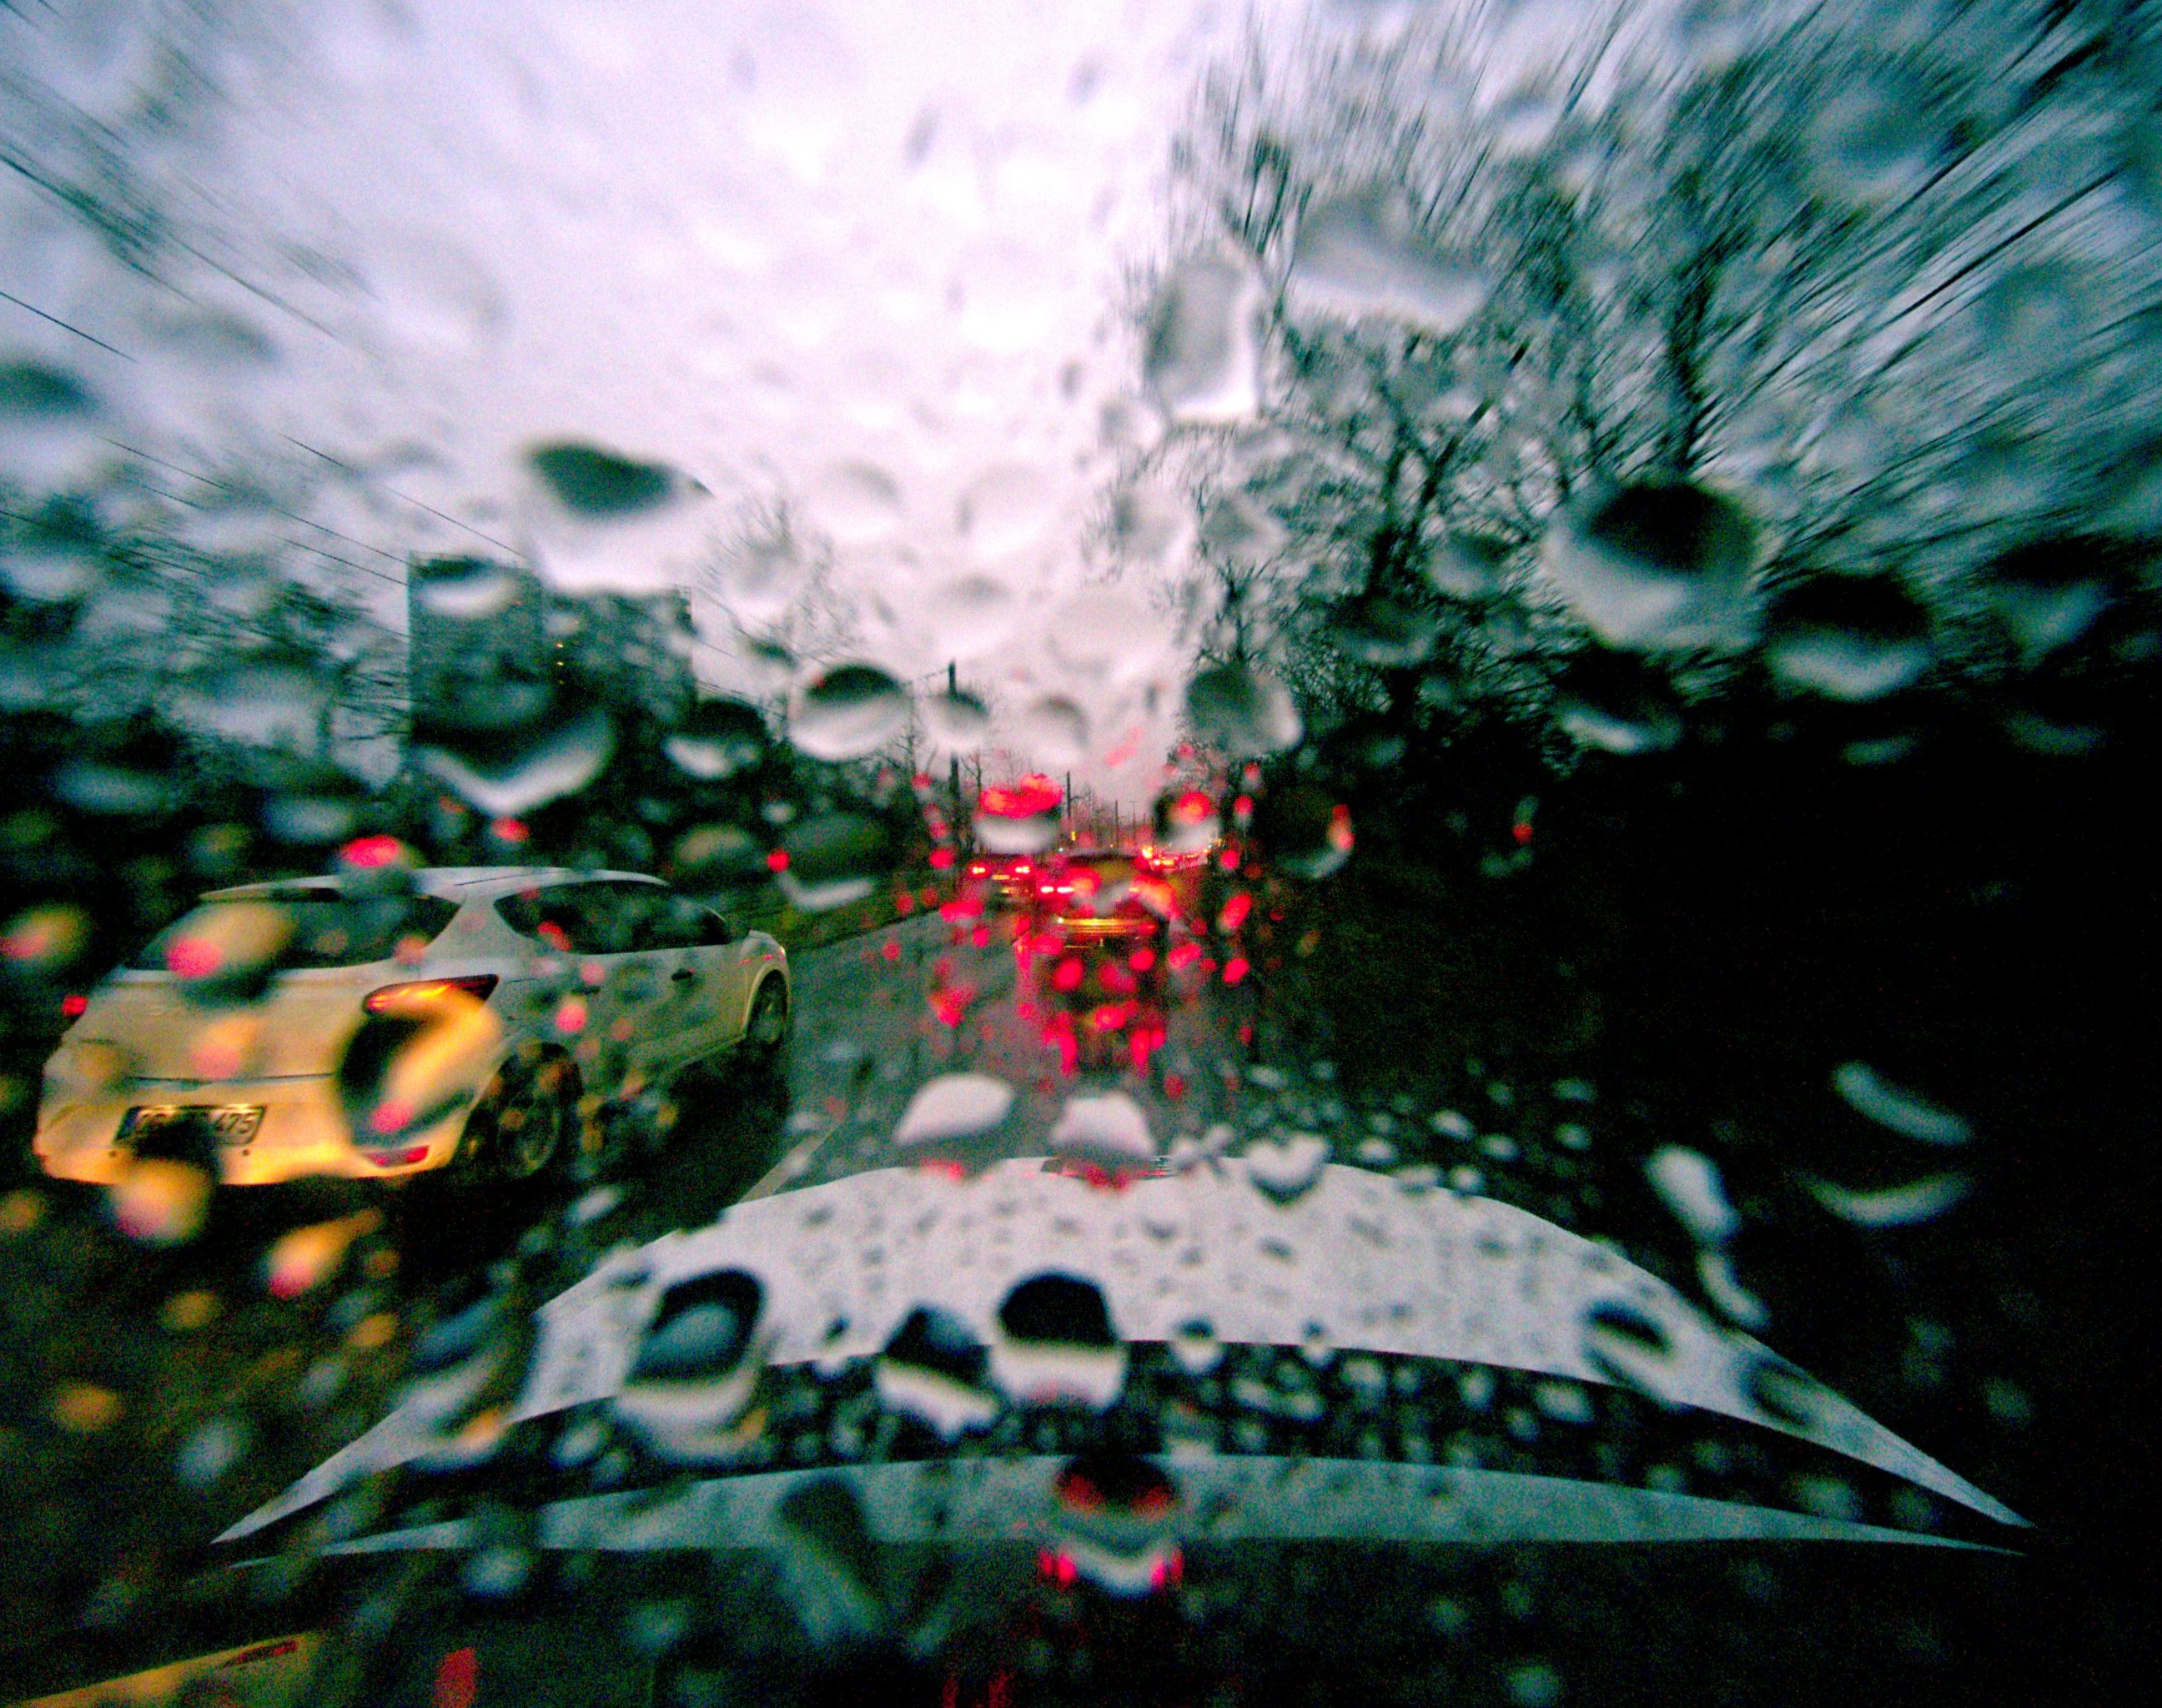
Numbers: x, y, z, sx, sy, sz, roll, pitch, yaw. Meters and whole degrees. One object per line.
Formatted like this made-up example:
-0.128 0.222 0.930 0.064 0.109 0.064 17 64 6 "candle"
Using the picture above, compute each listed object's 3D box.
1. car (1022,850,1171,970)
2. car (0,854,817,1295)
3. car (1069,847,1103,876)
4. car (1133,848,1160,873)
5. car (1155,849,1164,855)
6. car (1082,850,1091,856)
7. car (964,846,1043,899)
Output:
0.290 0.744 12.957 1.990 1.584 4.003 -1 0 2 "car"
-3.226 0.784 4.943 1.702 1.525 4.137 -1 0 2 "car"
0.333 0.427 49.002 1.872 1.593 4.003 -2 1 3 "car"
4.402 0.404 54.885 1.701 1.558 4.001 -1 0 4 "car"
21.842 -0.602 226.799 1.982 1.666 3.846 -2 0 9 "car"
1.479 -0.310 220.202 1.982 1.658 4.010 0 0 9 "car"
-2.306 0.506 25.270 1.873 1.459 4.002 -2 1 2 "car"
